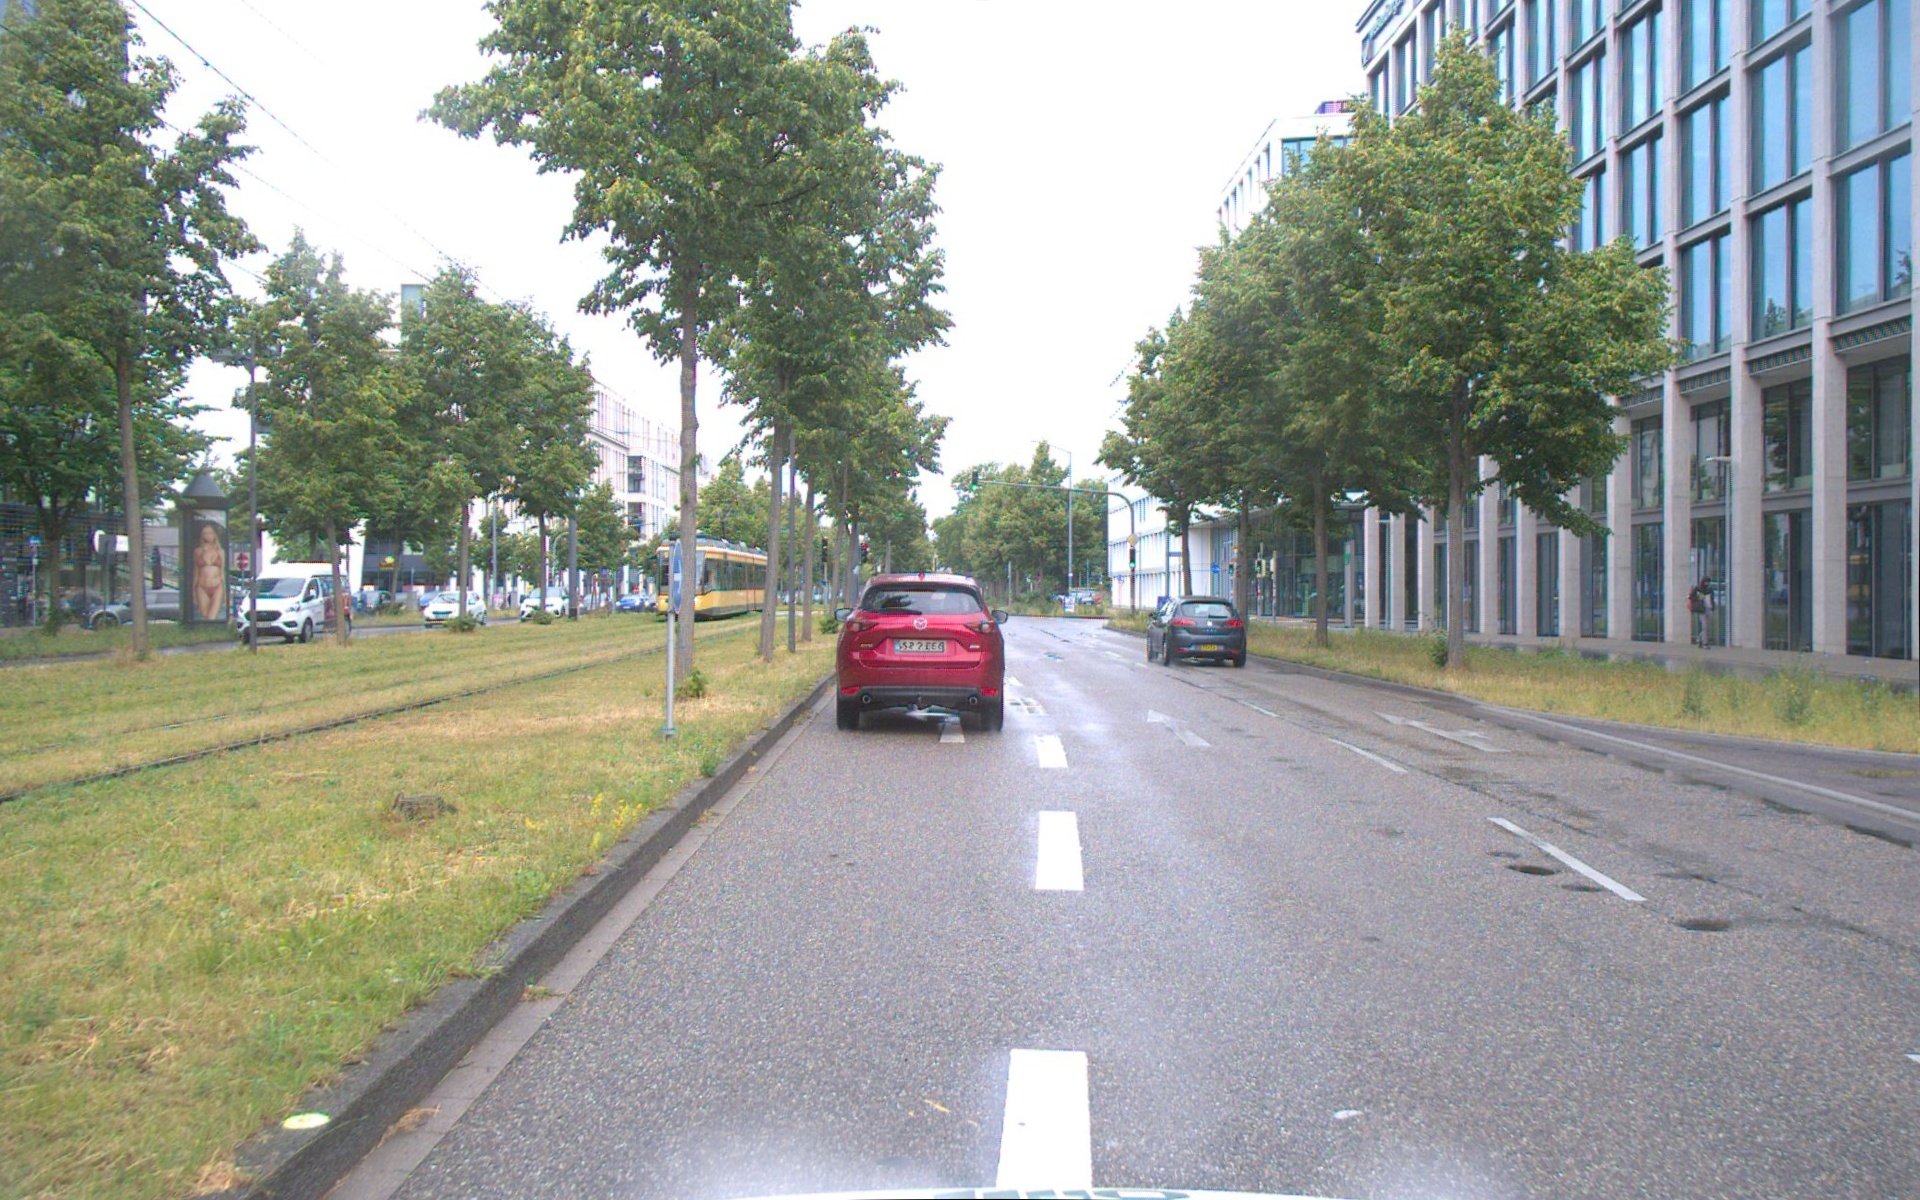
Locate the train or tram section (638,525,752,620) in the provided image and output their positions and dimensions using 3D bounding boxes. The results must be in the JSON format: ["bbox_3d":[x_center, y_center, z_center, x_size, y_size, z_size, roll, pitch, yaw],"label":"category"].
[{"bbox_3d":[-11.321,-1.143,72.055,3.065,3.723,13.403,0,1,-1],"label":"train or tram section"}]

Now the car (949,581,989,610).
[{"bbox_3d":[0.503,-0.274,88.183,1.926,1.462,4.554,1,1,3],"label":"car"}]

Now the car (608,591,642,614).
[{"bbox_3d":[-25.329,0.186,125.077,1.954,1.646,3.998,0,1,-3],"label":"car"}]

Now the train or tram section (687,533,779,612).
[{"bbox_3d":[-11.631,-1.381,86.298,3.065,3.723,15.061,0,1,-1],"label":"train or tram section"}]

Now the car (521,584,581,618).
[{"bbox_3d":[-17.670,0.028,71.641,1.675,1.429,3.999,0,1,-1],"label":"car"}]

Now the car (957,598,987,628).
[{"bbox_3d":[0.838,0.899,116.946,1.953,2.049,3.999,0,1,-1],"label":"car"}]

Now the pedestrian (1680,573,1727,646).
[{"bbox_3d":[18.203,0.230,40.498,0.702,1.744,0.861,-2,0,-2],"label":"pedestrian"}]

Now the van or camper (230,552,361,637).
[{"bbox_3d":[-20.242,-0.190,50.622,1.870,2.453,5.401,0,0,-1],"label":"van or camper"}]

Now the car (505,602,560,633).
[{"bbox_3d":[-22.335,0.874,86.520,1.846,1.485,3.999,2,1,-1],"label":"car"}]

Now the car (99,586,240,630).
[{"bbox_3d":[-29.162,0.274,61.068,4.615,1.548,1.981,0,1,-30],"label":"car"}]

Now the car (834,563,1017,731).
[{"bbox_3d":[-0.409,0.462,18.906,1.860,1.706,3.999,0,0,-2],"label":"car"}]

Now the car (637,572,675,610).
[{"bbox_3d":[-21.584,-0.669,117.638,2.212,2.606,4.650,0,0,-5],"label":"car"}]

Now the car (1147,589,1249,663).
[{"bbox_3d":[5.100,0.523,35.807,1.707,1.490,3.782,0,0,1],"label":"car"}]

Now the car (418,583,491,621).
[{"bbox_3d":[-20.823,0.060,68.249,1.846,1.485,3.999,0,1,-1],"label":"car"}]

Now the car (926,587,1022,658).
[{"bbox_3d":[0.368,0.456,36.647,1.918,1.490,3.783,0,0,3],"label":"car"}]
